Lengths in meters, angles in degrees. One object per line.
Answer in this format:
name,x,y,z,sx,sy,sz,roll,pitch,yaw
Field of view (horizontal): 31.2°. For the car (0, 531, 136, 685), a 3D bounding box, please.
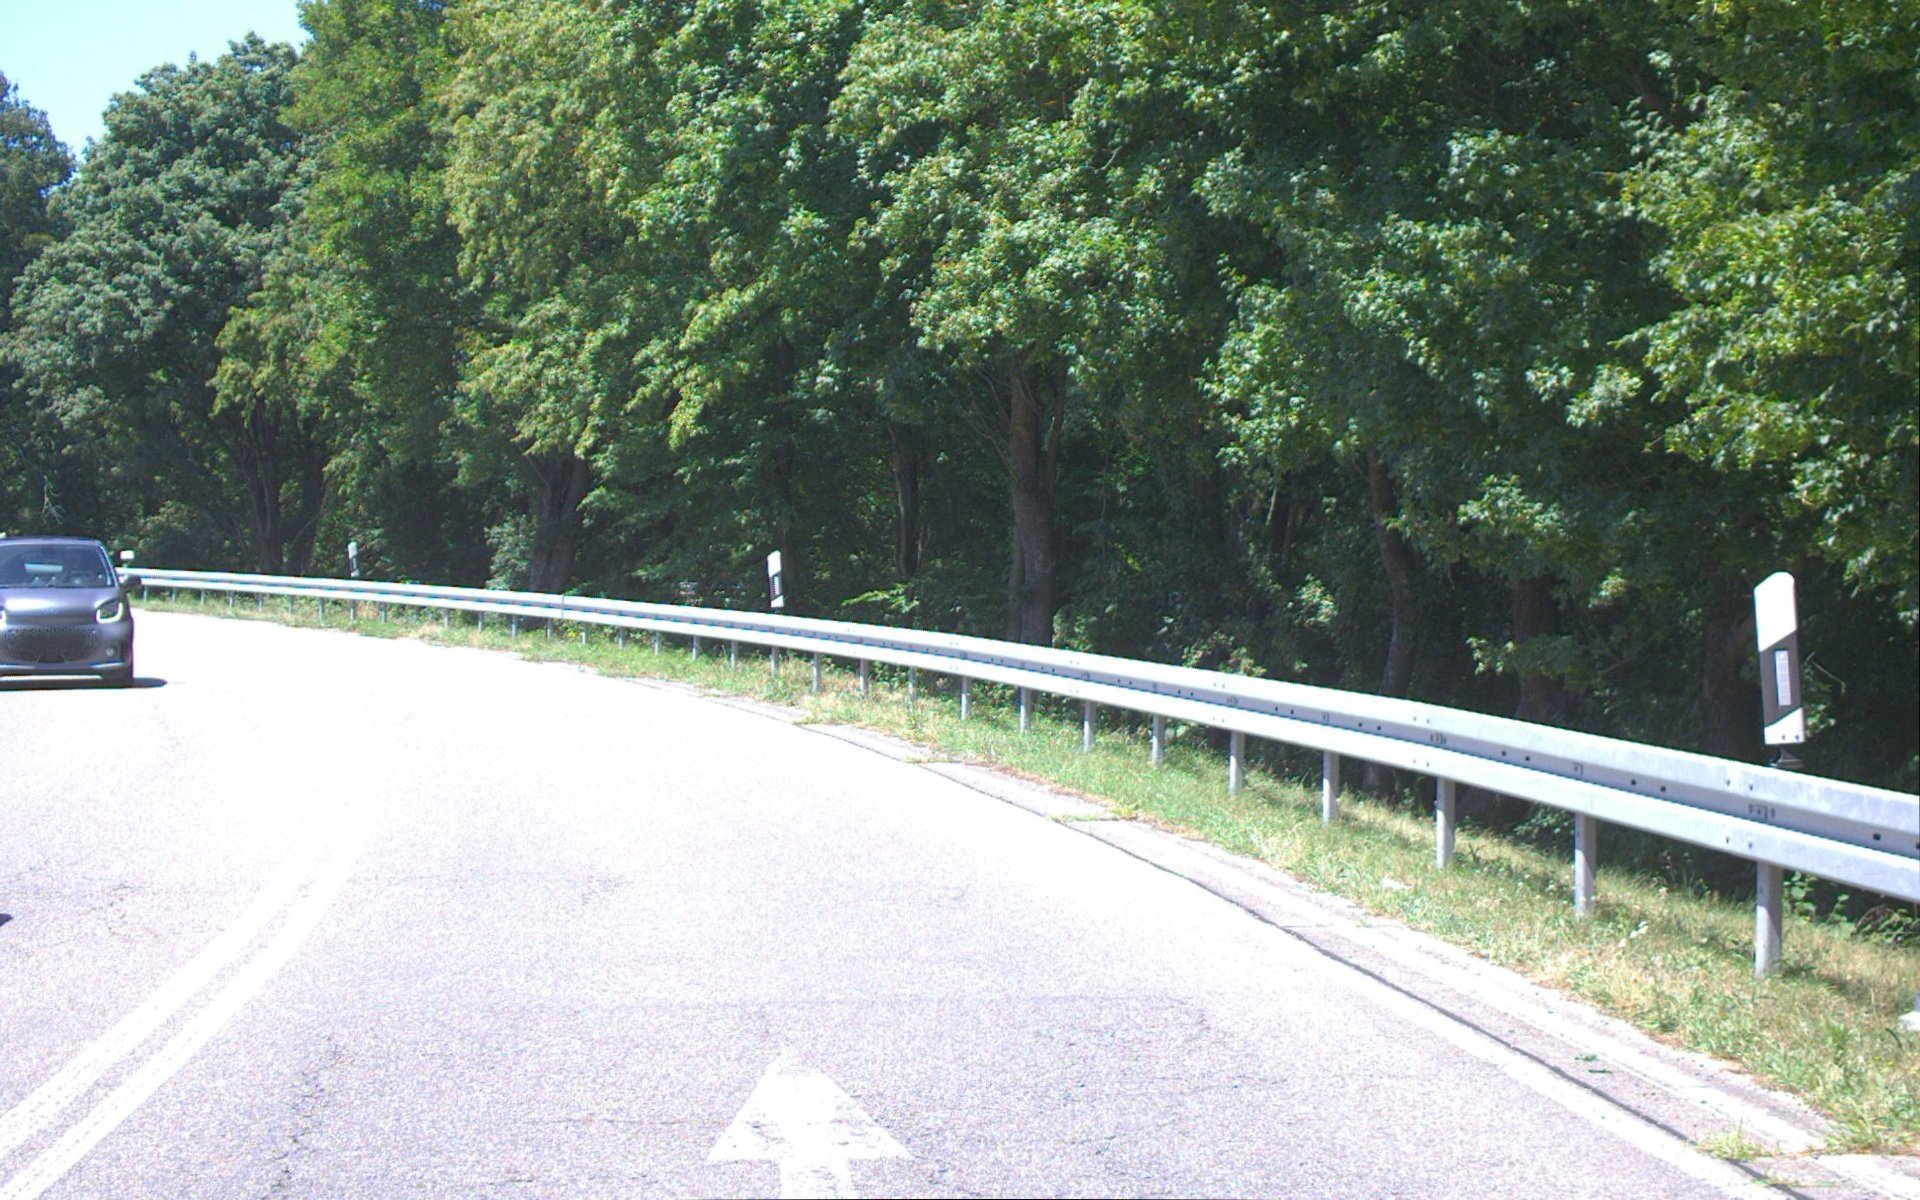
car,-9.622,0.040,36.041,1.734,1.501,4.074,-1,1,-16
